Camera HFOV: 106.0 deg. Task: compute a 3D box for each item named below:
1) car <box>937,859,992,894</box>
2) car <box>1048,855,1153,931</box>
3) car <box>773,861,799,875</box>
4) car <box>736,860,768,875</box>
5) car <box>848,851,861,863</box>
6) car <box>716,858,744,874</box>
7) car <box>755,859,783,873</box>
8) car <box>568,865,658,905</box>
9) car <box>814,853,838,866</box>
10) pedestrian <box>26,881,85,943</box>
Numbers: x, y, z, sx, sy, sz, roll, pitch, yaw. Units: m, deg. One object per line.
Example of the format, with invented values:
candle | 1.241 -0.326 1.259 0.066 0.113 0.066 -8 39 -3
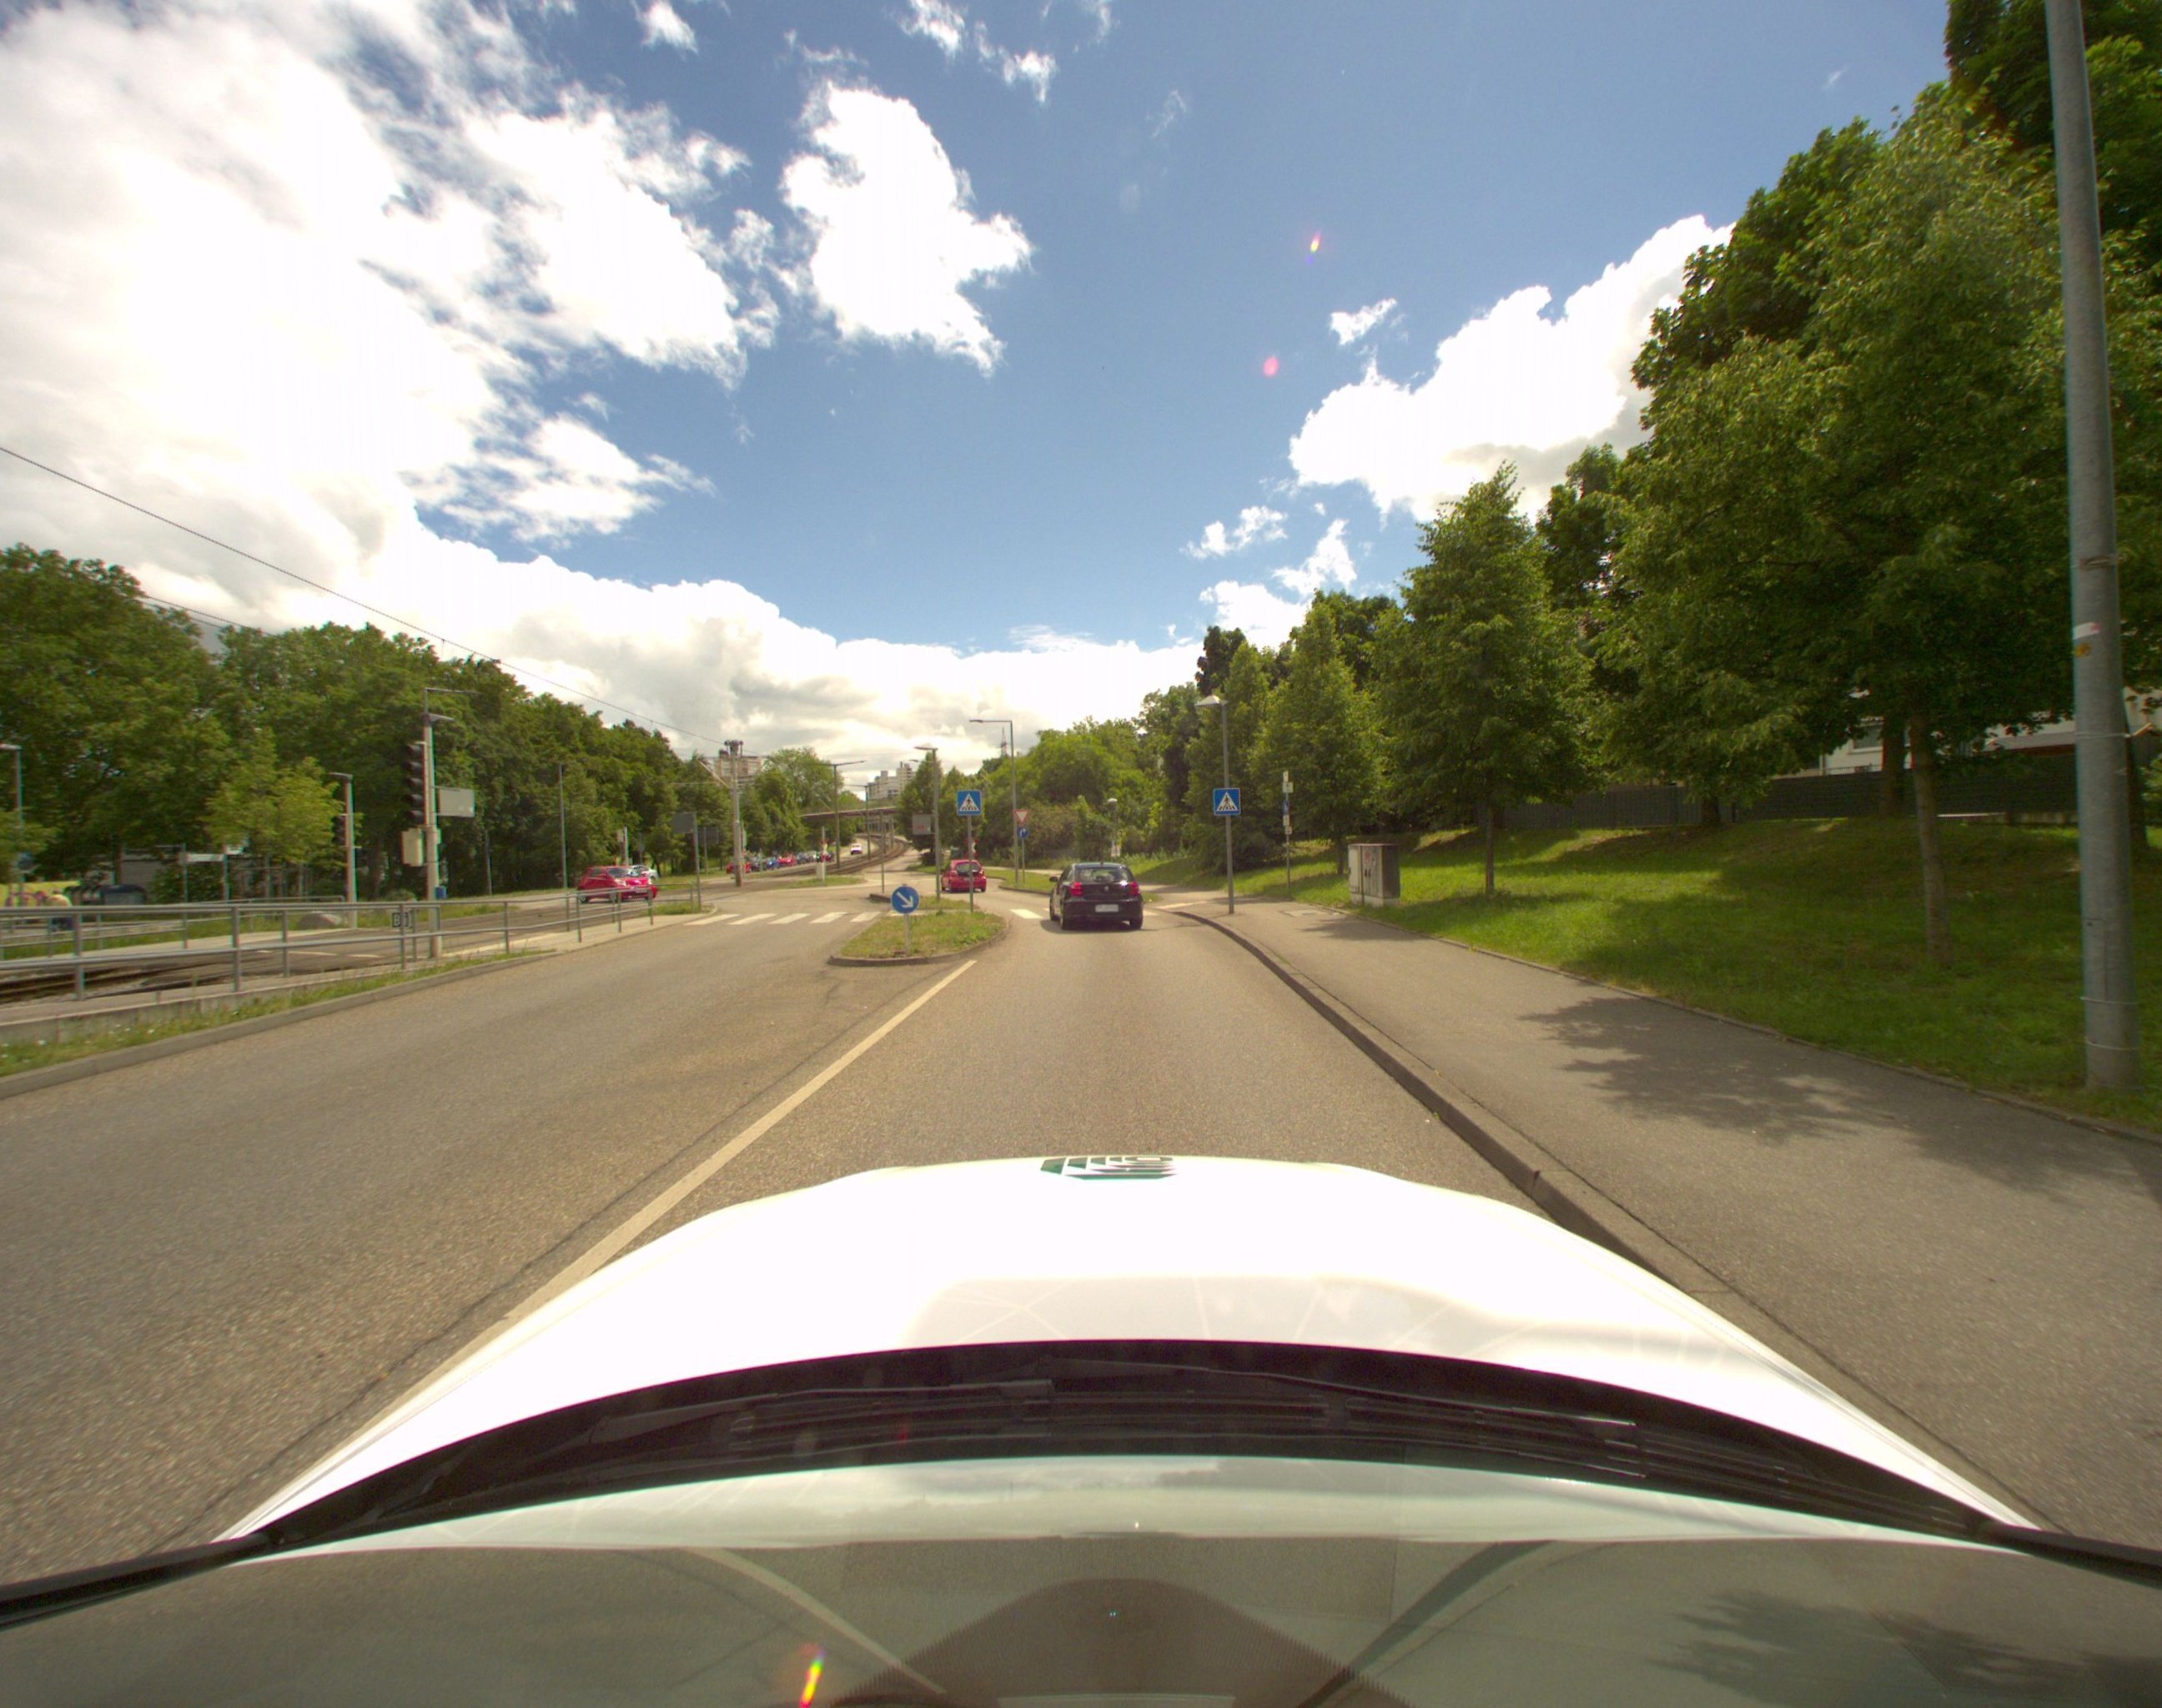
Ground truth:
car | -5.319 0.998 36.900 1.772 1.432 3.455 -3 0 -20
car | 0.319 0.814 18.363 1.813 1.421 3.991 -3 -1 -6
car | -35.223 1.683 97.432 1.910 1.561 3.992 -2 0 -6
car | -33.038 1.329 81.788 1.875 1.425 3.527 -2 0 -3
car | -40.049 0.483 143.894 1.997 2.013 3.980 -2 0 -15
car | -32.732 1.127 76.032 1.527 1.370 3.587 -2 0 -8
car | -33.350 1.284 87.187 1.803 1.254 3.562 -2 1 -5
car | -19.135 1.261 33.311 2.931 1.503 1.735 -2 0 22
car | -33.265 0.688 106.398 1.989 1.597 4.414 -2 0 -4
pedestrian | -34.612 1.942 27.495 0.954 2.013 0.824 -2 1 10
